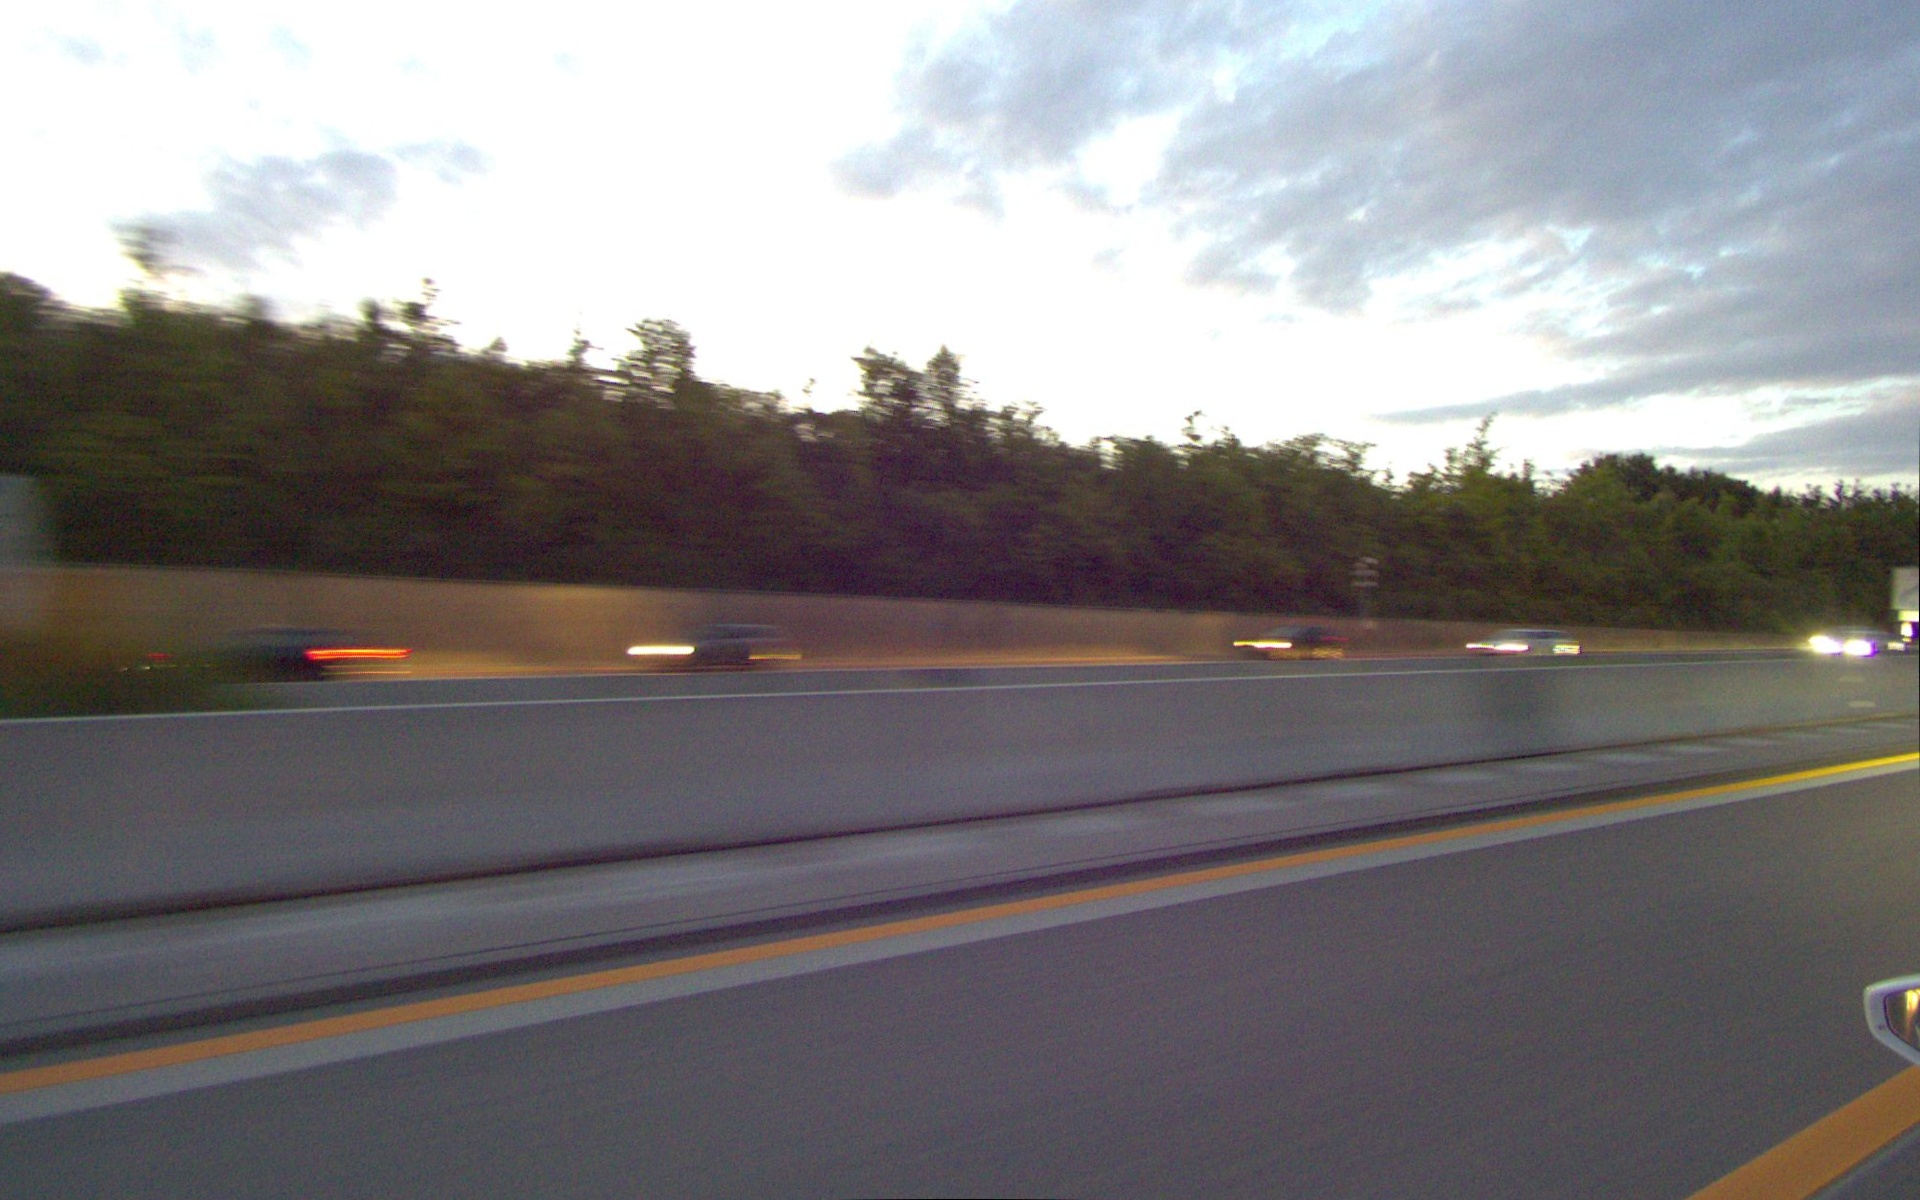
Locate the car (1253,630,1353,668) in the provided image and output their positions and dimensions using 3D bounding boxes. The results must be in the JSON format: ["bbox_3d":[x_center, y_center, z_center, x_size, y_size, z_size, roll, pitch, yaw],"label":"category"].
[{"bbox_3d":[14.555,2.065,42.625,4.173,1.489,1.570,2,0,-28],"label":"car"}]

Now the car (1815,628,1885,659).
[{"bbox_3d":[53.028,2.590,59.846,4.615,1.745,1.742,2,0,-30],"label":"car"}]

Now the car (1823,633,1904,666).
[{"bbox_3d":[48.318,2.619,53.711,4.819,1.610,1.798,2,0,-30],"label":"car"}]

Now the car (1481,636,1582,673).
[{"bbox_3d":[25.579,2.419,44.918,4.588,1.489,1.666,2,0,-28],"label":"car"}]

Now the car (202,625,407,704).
[{"bbox_3d":[-14.722,1.418,22.821,3.747,1.592,1.789,2,0,-30],"label":"car"}]

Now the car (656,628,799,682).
[{"bbox_3d":[-7.159,1.678,30.995,4.044,1.489,1.570,2,0,-28],"label":"car"}]
